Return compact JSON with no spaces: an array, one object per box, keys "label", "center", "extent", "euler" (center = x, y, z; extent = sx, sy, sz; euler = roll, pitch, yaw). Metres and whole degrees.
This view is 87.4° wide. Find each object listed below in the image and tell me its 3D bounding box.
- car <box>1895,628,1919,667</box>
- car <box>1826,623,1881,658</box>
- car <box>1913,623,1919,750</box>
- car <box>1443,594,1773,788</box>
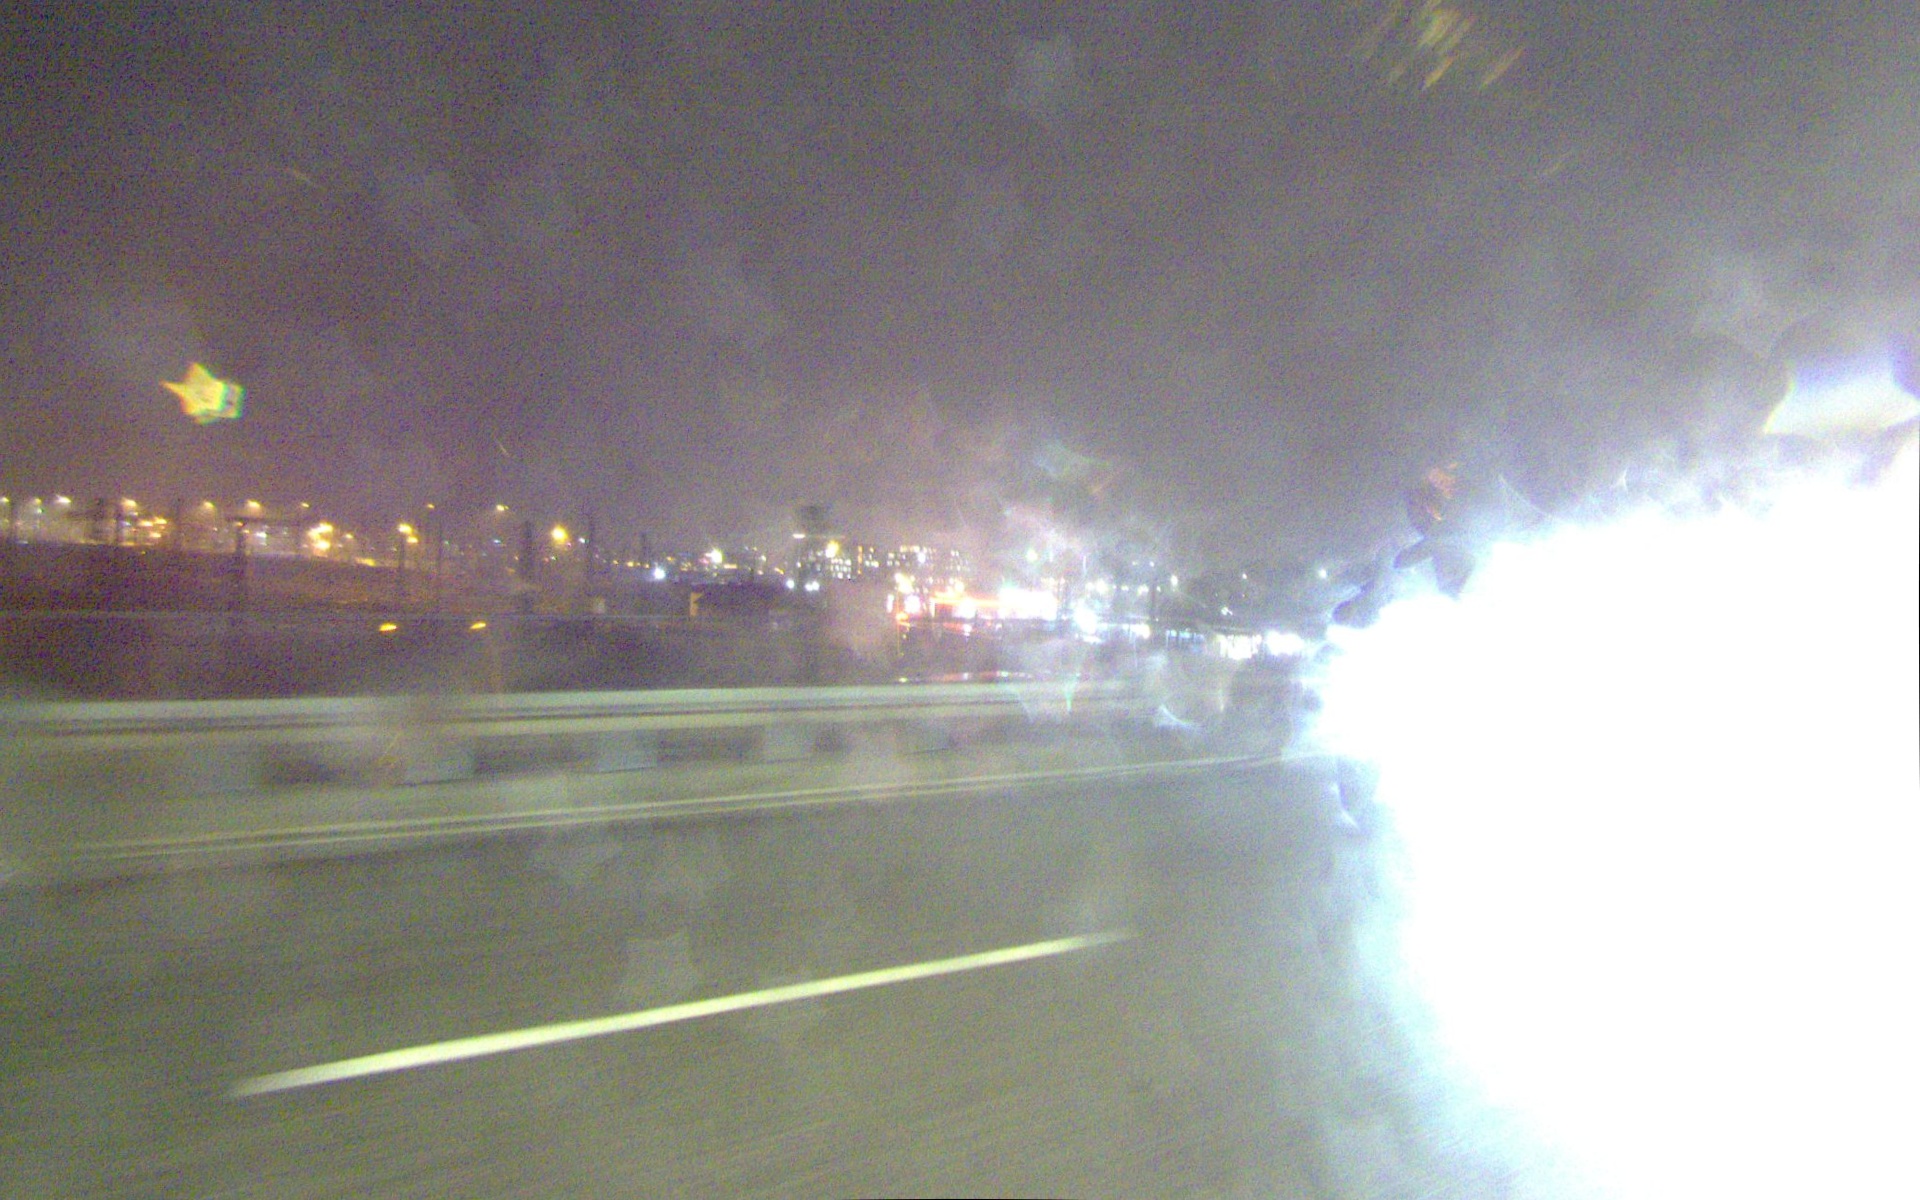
[{"label":"car","center":[48.537,2.366,50.561],"extent":[1.732,1.885,3.984],"euler":[-1,-2,38]},{"label":"car","center":[55.081,2.448,62.009],"extent":[1.641,2.040,3.994],"euler":[0,-1,28]},{"label":"car","center":[13.169,1.025,12.103],"extent":[4.026,1.458,1.881],"euler":[1,-1,-38]},{"label":"car","center":[6.317,0.754,9.742],"extent":[3.154,1.606,1.463],"euler":[0,0,-31]}]
